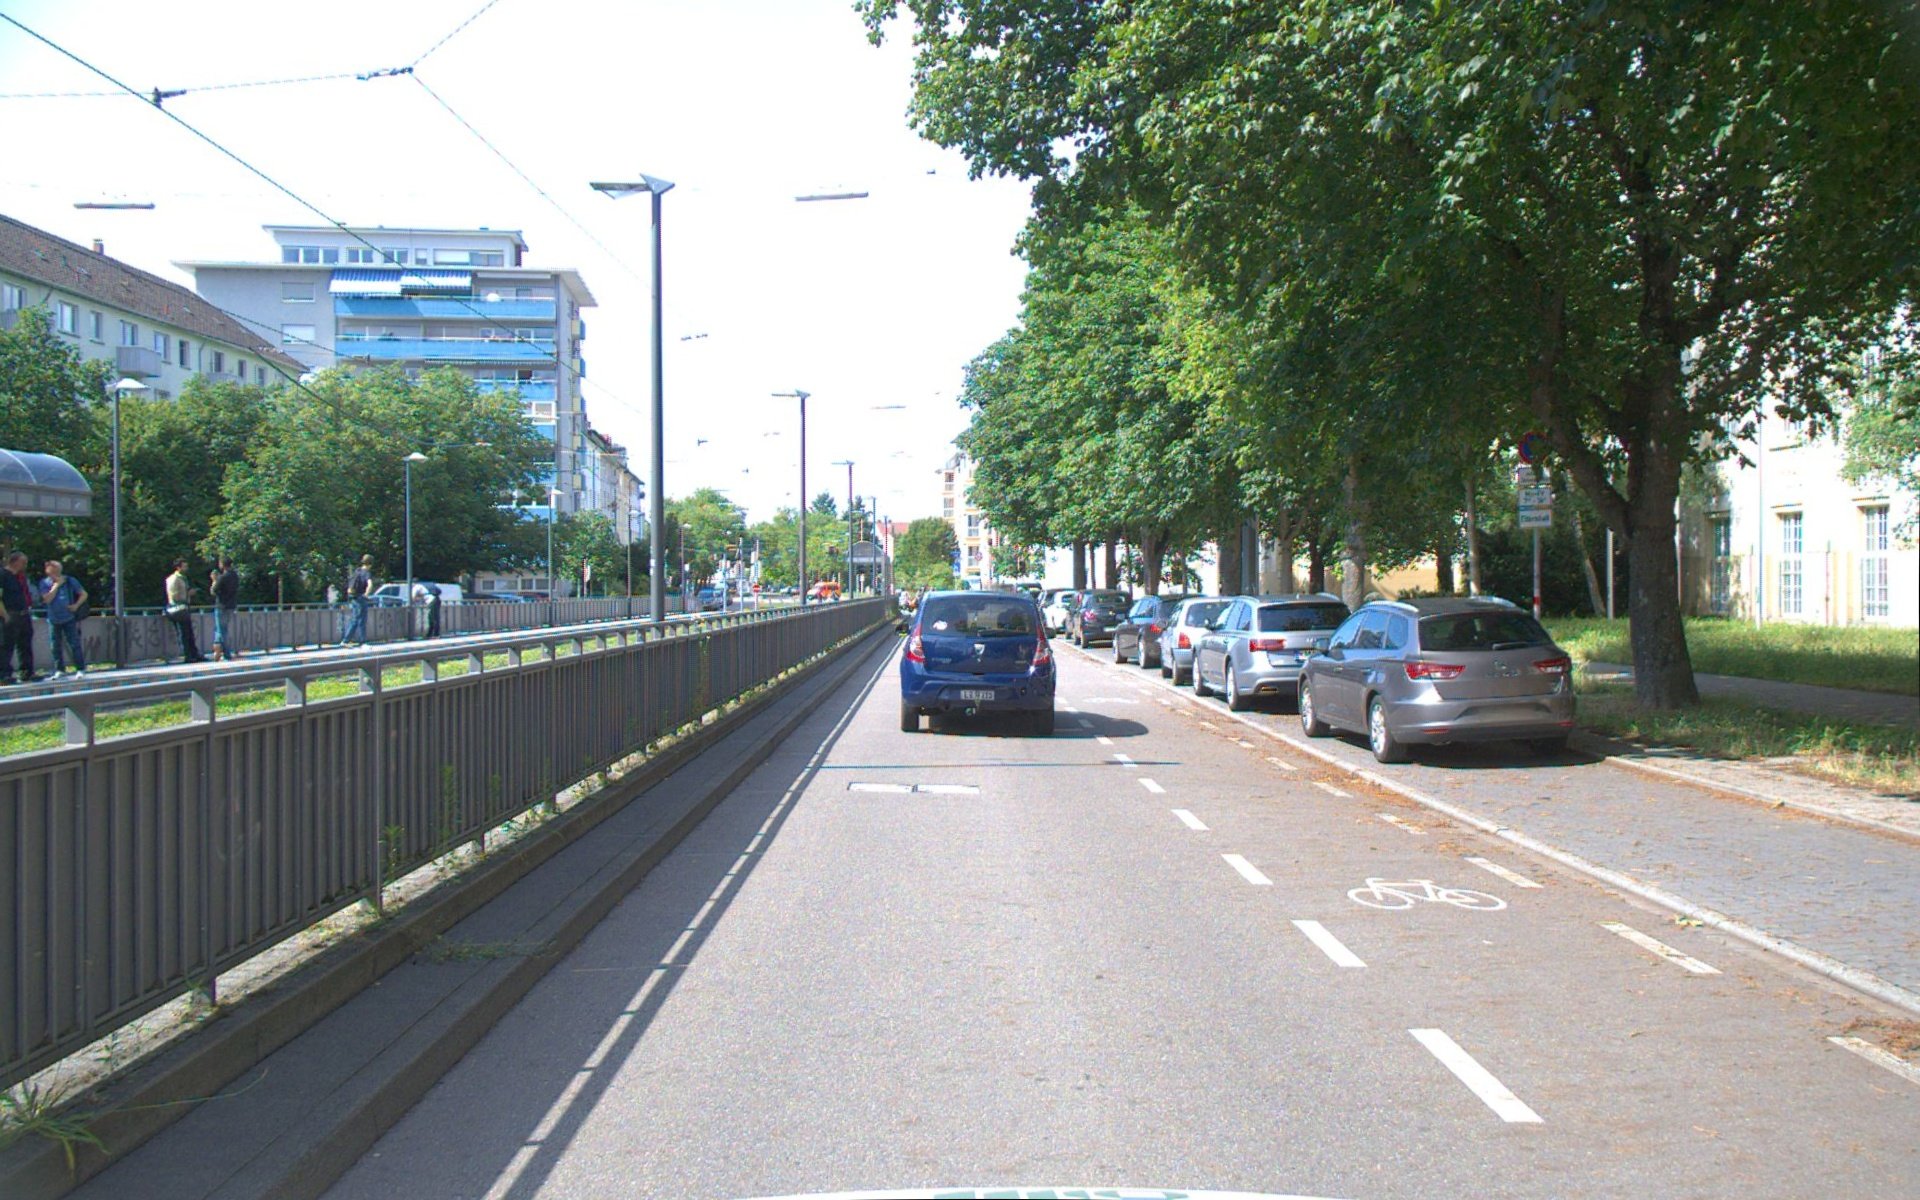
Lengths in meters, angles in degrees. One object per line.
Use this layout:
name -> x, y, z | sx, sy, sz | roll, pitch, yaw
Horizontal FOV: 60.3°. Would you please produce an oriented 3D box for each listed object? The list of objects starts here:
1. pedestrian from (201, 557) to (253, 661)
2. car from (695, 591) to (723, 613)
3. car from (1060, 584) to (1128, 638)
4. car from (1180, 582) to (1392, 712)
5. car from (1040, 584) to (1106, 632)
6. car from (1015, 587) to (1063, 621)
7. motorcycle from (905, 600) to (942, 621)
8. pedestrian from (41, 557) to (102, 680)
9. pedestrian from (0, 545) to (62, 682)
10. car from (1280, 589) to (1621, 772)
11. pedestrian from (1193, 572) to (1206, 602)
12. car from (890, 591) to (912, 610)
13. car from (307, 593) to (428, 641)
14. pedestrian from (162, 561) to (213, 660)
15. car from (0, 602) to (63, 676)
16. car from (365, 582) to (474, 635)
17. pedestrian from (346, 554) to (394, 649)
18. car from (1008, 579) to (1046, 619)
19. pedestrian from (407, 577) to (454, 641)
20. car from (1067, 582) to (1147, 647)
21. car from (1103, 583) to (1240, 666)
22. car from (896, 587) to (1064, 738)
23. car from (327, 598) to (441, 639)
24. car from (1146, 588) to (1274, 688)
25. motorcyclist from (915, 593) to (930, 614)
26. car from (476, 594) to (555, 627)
pedestrian -> -12.746, 0.155, 28.749 | 0.597, 1.785, 0.622 | -1, -1, 39
car -> -20.338, 0.161, 134.100 | 1.954, 1.674, 3.996 | 1, 0, -5
car -> 4.077, 0.338, 50.824 | 1.525, 1.486, 3.556 | -4, 0, -3
car -> 4.352, 0.551, 22.882 | 1.792, 1.466, 5.049 | -4, 1, -1
car -> 4.039, 0.270, 59.563 | 1.799, 1.550, 4.250 | -3, 0, -3
car -> 3.771, 0.188, 79.572 | 1.879, 1.467, 4.795 | -3, 1, -2
motorcycle -> -2.477, 0.694, 111.560 | 2.460, 1.362, 1.017 | -1, 0, -5
pedestrian -> -12.164, 0.243, 22.658 | 0.586, 1.661, 0.556 | -1, 1, -15
pedestrian -> -12.524, 0.182, 21.991 | 0.619, 1.773, 1.035 | -1, 0, -4
car -> 4.649, 0.671, 16.458 | 1.792, 1.424, 4.655 | -4, 1, -2
pedestrian -> 13.462, -0.725, 92.921 | 0.619, 1.624, 0.539 | -1, 0, -4
car -> -4.794, 0.068, 134.710 | 1.590, 1.490, 3.507 | 1, 0, -5
car -> -22.307, 0.618, 62.297 | 3.959, 1.668, 1.803 | -1, 2, -38
pedestrian -> -13.409, 0.179, 28.731 | 0.594, 1.703, 0.625 | -1, -1, -1
car -> -22.066, 0.881, 36.032 | 4.117, 1.592, 1.897 | -1, 0, -42
car -> -22.237, 0.332, 68.010 | 3.901, 2.106, 2.027 | -1, 1, -32
pedestrian -> -12.120, 0.033, 33.981 | 0.735, 1.925, 0.639 | 0, -2, 1
car -> 3.408, -0.089, 84.922 | 1.785, 1.929, 4.184 | -2, 1, 1
pedestrian -> -13.580, 0.225, 42.423 | 0.969, 1.606, 0.798 | -1, 0, -4
car -> 4.003, 0.369, 45.627 | 1.656, 1.588, 4.307 | -4, 0, -1
car -> 4.254, 0.488, 34.033 | 1.795, 1.492, 4.826 | -3, 0, -4
car -> 0.161, 0.631, 19.073 | 1.708, 1.533, 3.999 | 1, 0, -1
car -> -22.619, 0.697, 64.987 | 3.953, 1.511, 1.590 | -1, 1, -35
car -> 4.170, 0.586, 28.088 | 1.602, 1.456, 4.016 | -3, 1, 1
motorcyclist -> -2.522, 0.226, 111.587 | 0.964, 1.362, 0.941 | -1, 0, -3
car -> -22.755, 0.523, 84.692 | 3.619, 1.607, 1.631 | -1, 1, -32
